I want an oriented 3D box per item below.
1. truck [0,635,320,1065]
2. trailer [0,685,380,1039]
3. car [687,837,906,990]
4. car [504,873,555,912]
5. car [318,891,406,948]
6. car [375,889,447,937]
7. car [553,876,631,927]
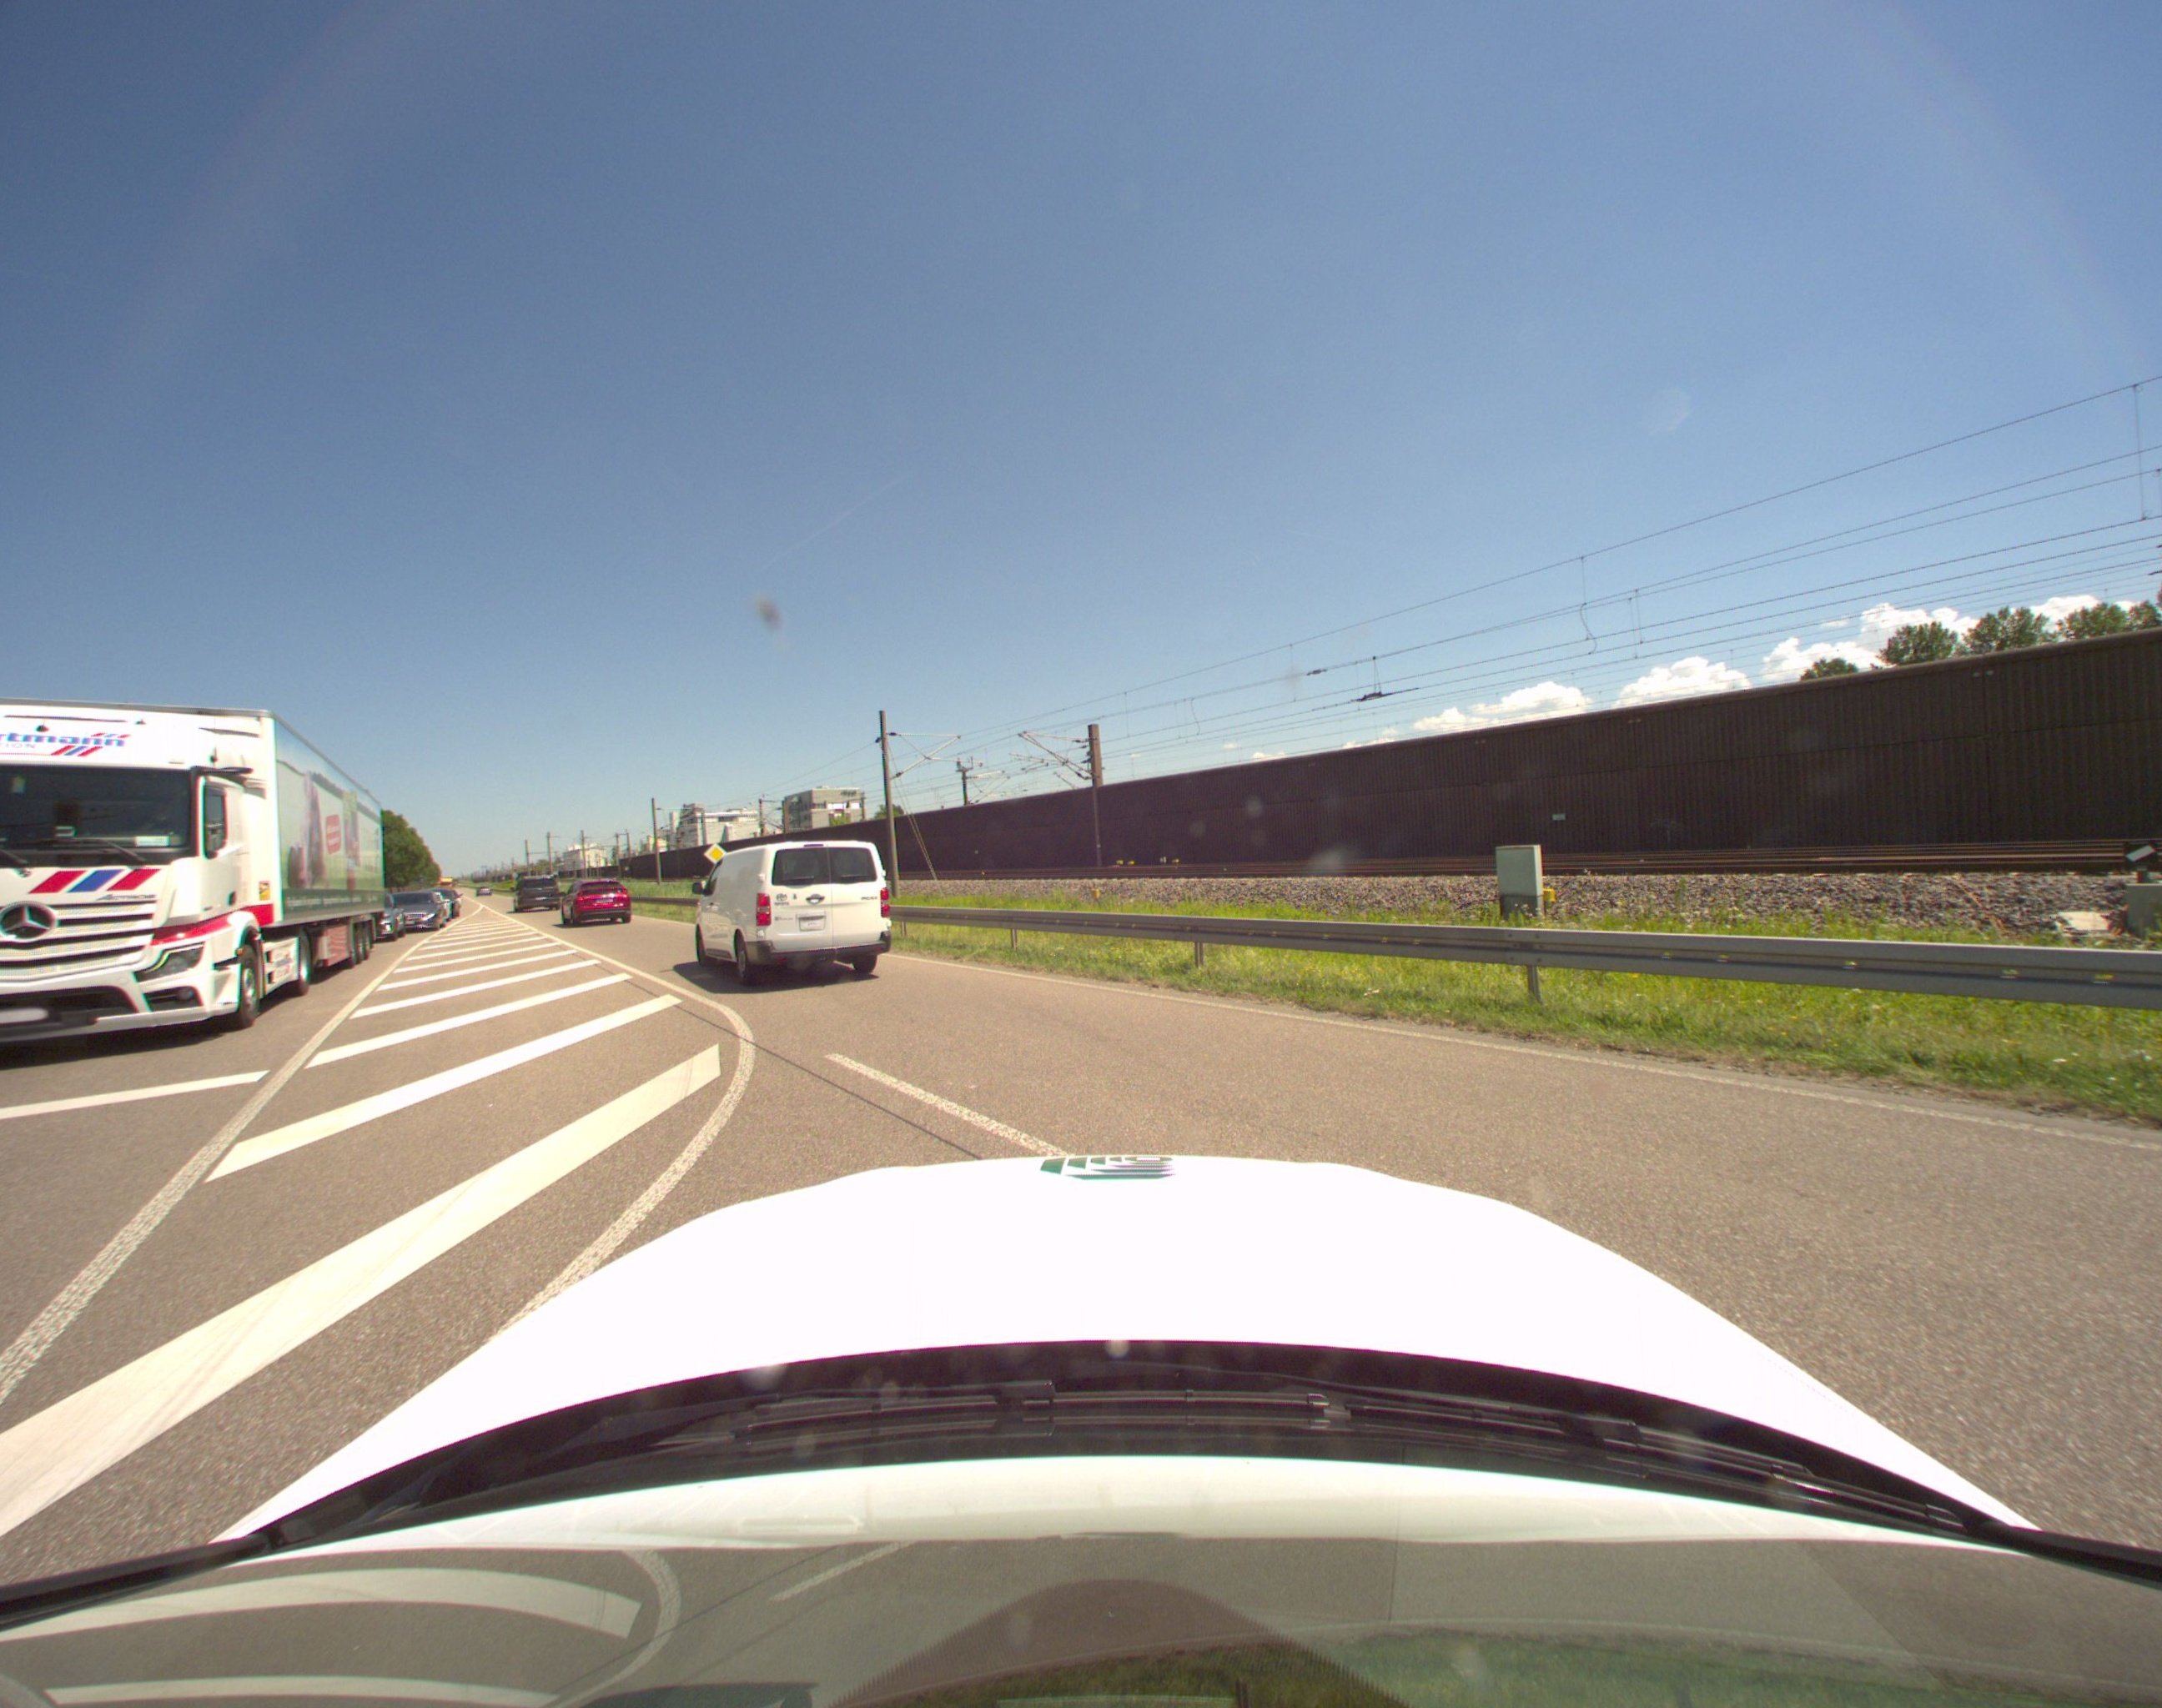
[{"bbox_3d":[-11.745,0.046,10.060,2.711,4.045,5.759,-2,-1,-37],"label":"truck"},{"bbox_3d":[-15.770,0.297,15.432,2.711,4.045,13.965,-2,-1,-37],"label":"trailer"},{"bbox_3d":[-4.621,0.814,12.671,1.960,1.881,4.828,-2,-1,-35],"label":"car"},{"bbox_3d":[-31.911,2.194,47.076,2.024,2.022,4.728,-3,0,-38],"label":"car"},{"bbox_3d":[-23.454,2.063,26.695,1.725,1.561,4.108,-3,0,-36],"label":"car"},{"bbox_3d":[-25.789,2.210,31.461,1.636,1.537,4.337,-4,1,-34],"label":"car"},{"bbox_3d":[-17.836,1.683,29.638,1.921,1.649,4.094,-2,0,-38],"label":"car"}]
